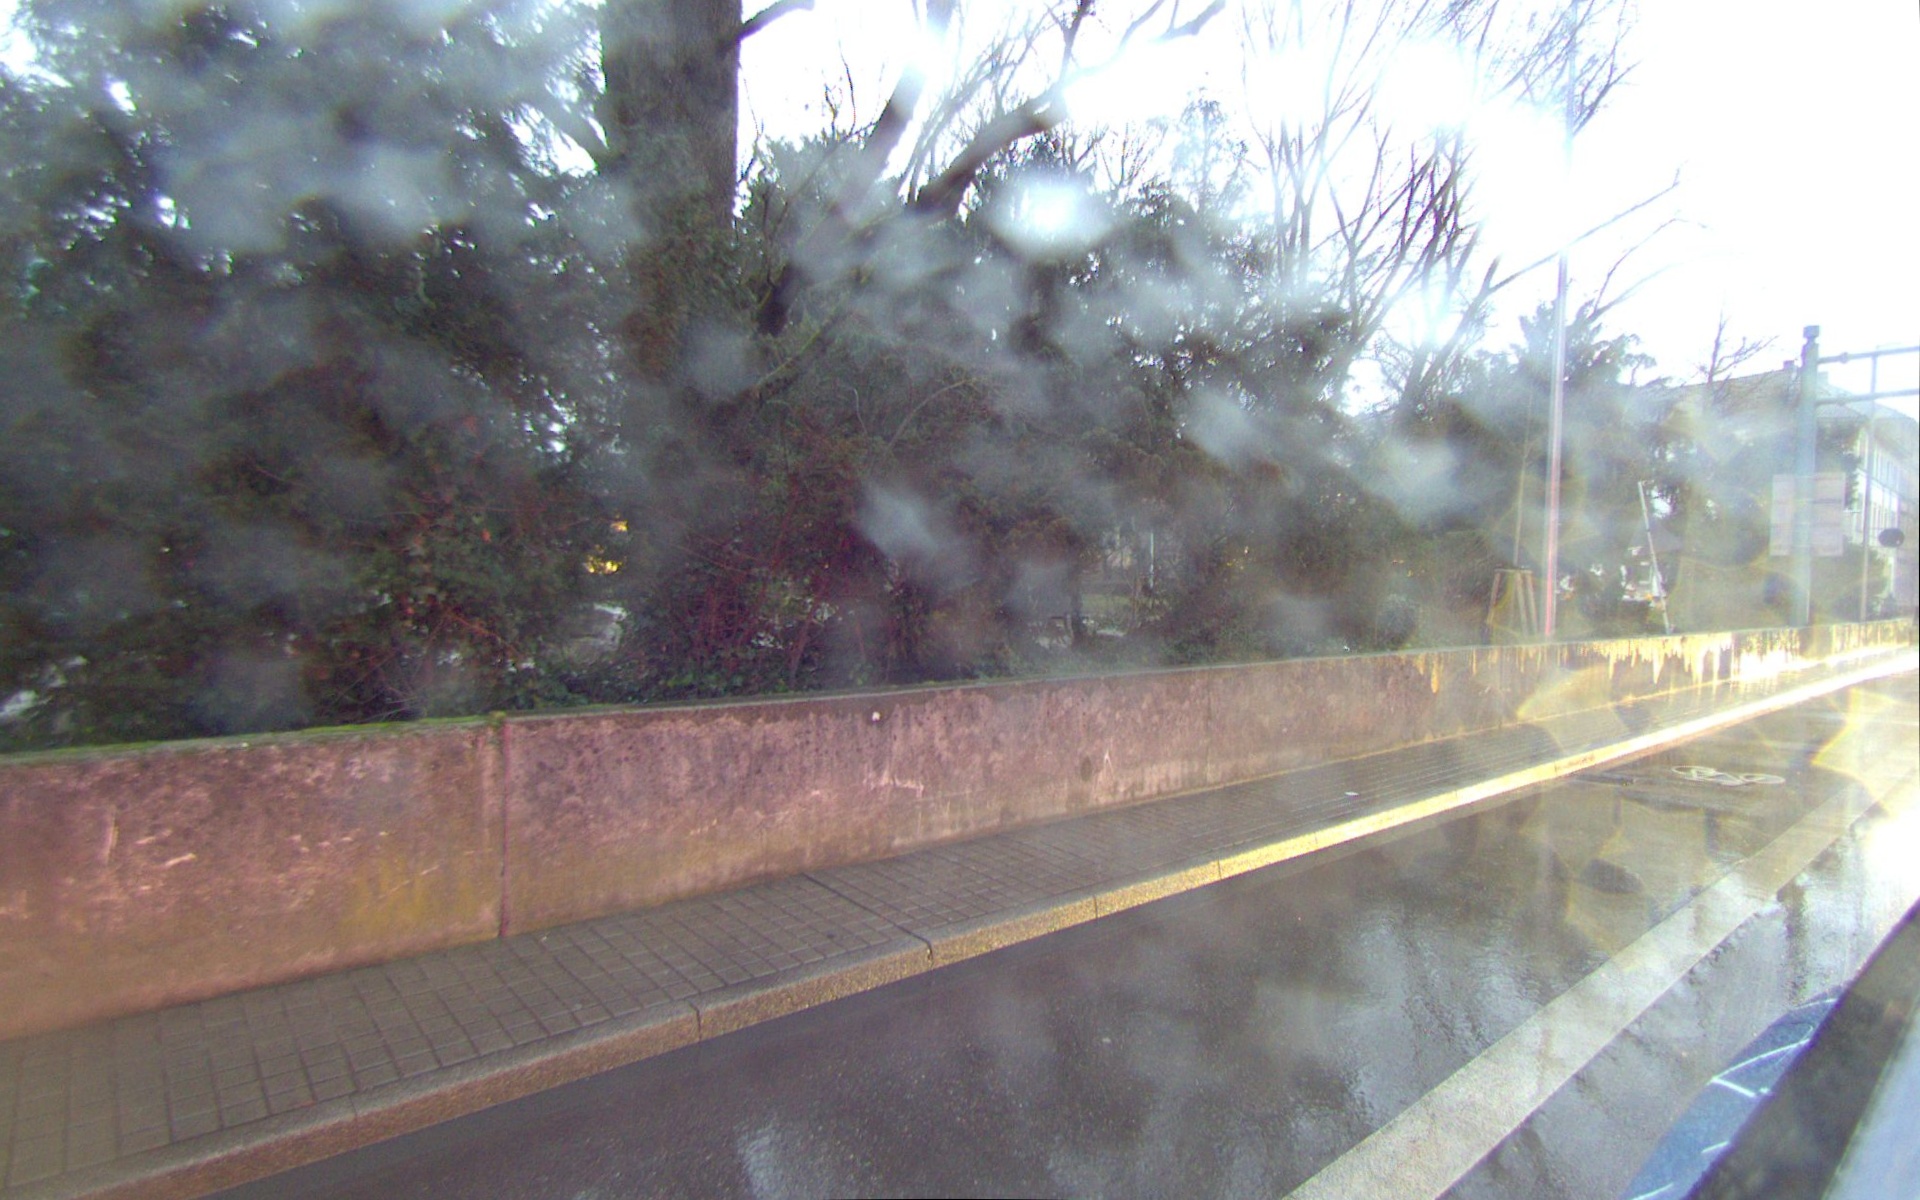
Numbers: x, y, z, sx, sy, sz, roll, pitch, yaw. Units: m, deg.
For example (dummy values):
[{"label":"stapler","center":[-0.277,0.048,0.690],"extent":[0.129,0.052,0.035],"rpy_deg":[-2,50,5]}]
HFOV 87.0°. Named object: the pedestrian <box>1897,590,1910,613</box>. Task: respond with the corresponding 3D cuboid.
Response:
[{"label":"pedestrian","center":[64.079,0.126,68.740],"extent":[0.577,1.529,0.520],"rpy_deg":[1,2,-41]}]
